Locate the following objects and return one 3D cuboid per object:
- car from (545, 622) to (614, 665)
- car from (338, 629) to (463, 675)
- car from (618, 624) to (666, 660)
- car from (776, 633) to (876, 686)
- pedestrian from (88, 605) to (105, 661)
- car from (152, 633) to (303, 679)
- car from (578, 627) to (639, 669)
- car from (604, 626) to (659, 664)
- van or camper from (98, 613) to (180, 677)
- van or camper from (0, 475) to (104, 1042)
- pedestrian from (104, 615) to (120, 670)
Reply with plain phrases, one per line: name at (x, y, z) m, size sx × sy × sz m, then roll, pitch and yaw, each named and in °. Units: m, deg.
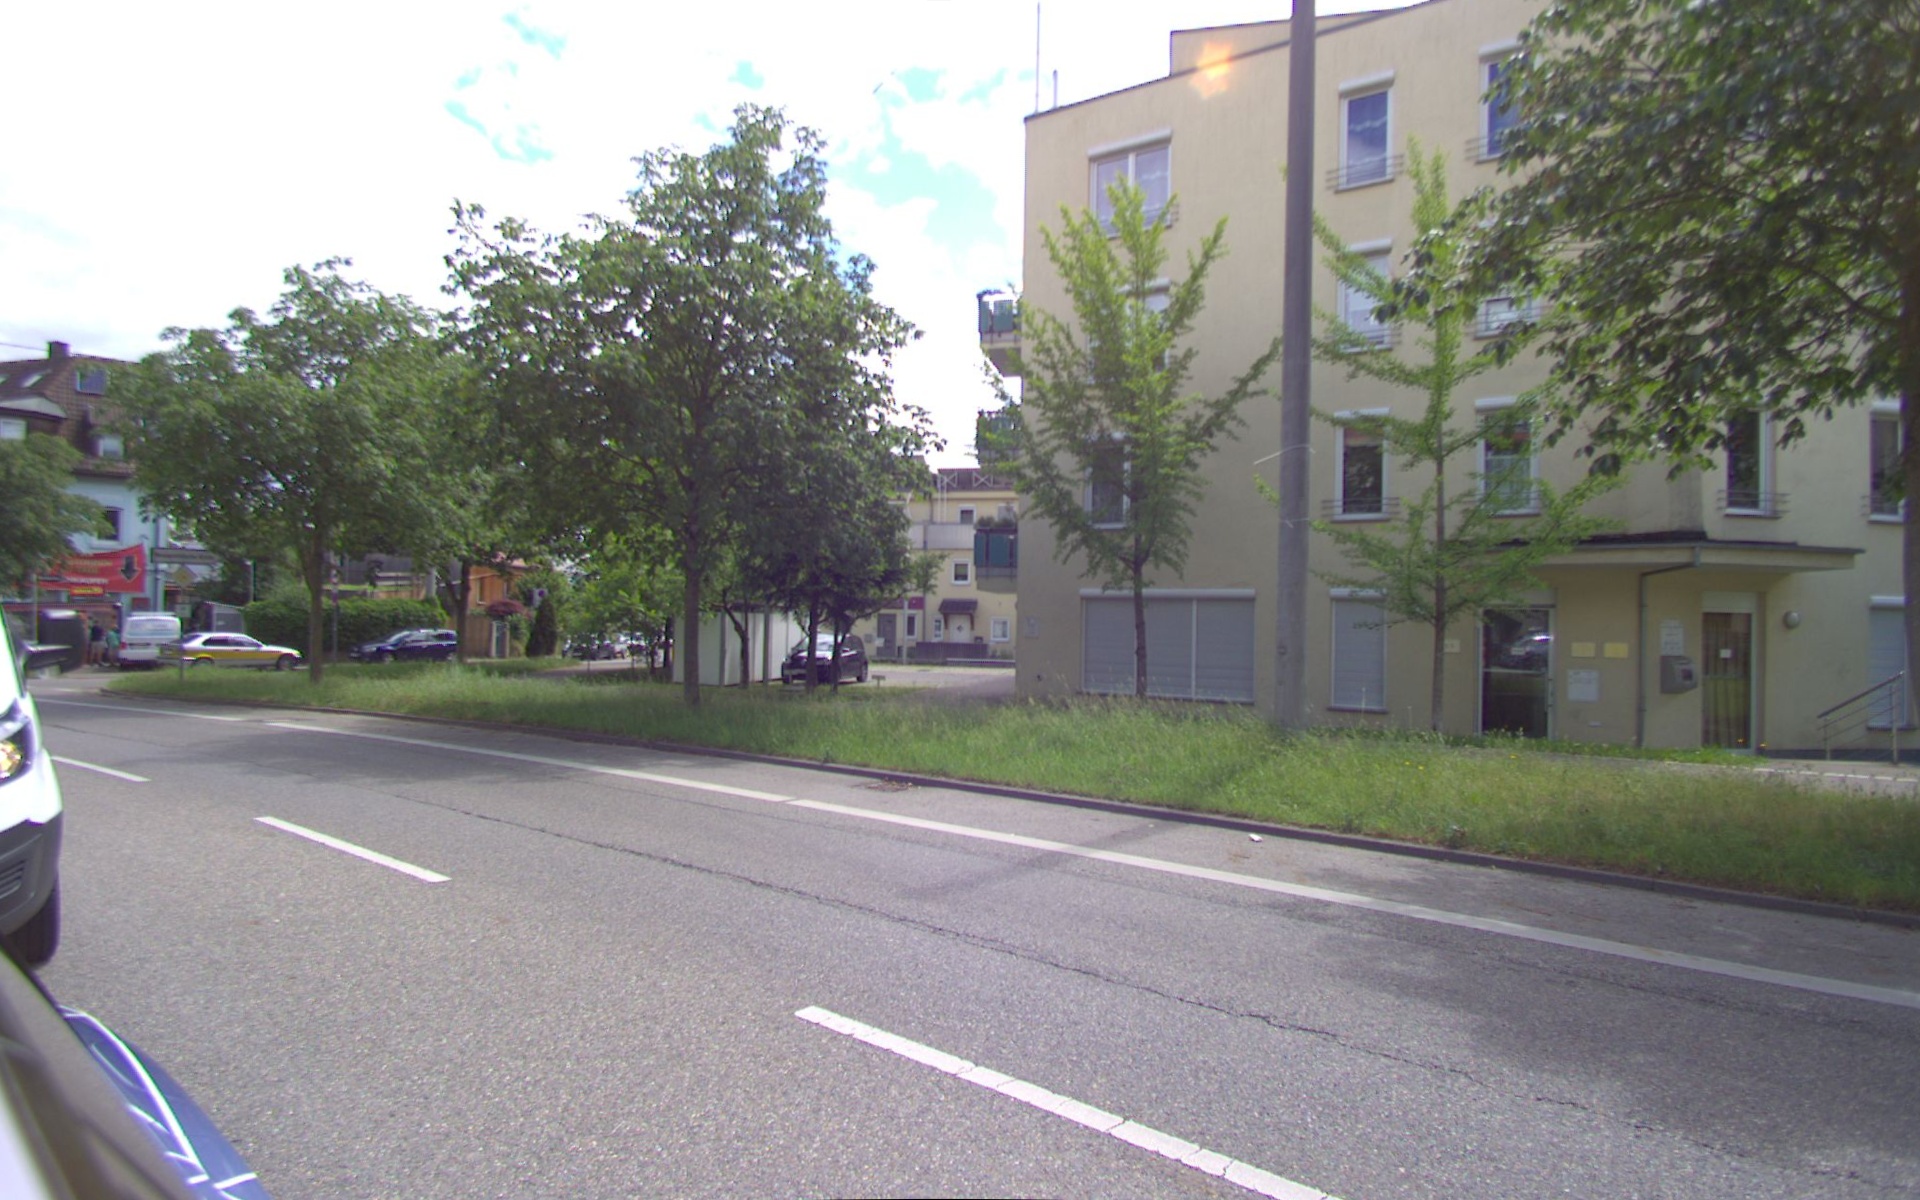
car at (-19.083, 2.170, 50.916) m, size 1.954 × 2.029 × 3.999 m, roll 0°, pitch -2°, yaw 0°
car at (-21.818, 1.983, 39.584) m, size 1.715 × 1.695 × 3.928 m, roll 0°, pitch -2°, yaw 37°
car at (-20.015, 2.632, 63.935) m, size 1.871 × 2.029 × 4.001 m, roll -1°, pitch 0°, yaw -2°
car at (-3.854, 1.768, 29.796) m, size 1.774 × 1.431 × 3.985 m, roll -1°, pitch -4°, yaw 11°
pedestrian at (-31.814, 1.212, 37.283) m, size 0.363 × 2.029 × 0.419 m, roll -1°, pitch 0°, yaw 41°
car at (-25.331, 1.897, 35.156) m, size 1.529 × 1.332 × 4.008 m, roll -1°, pitch 0°, yaw 27°
car at (-19.136, 2.594, 55.253) m, size 1.972 × 2.029 × 4.000 m, roll -1°, pitch 0°, yaw 0°
car at (-19.288, 2.619, 59.571) m, size 1.971 × 2.029 × 4.001 m, roll -1°, pitch 0°, yaw -1°
van or camper at (-29.651, 1.566, 36.520) m, size 3.811 × 2.105 × 1.770 m, roll 0°, pitch 0°, yaw 43°
van or camper at (-5.873, 0.593, 4.668) m, size 5.097 × 2.029 × 2.002 m, roll -1°, pitch -3°, yaw 39°
pedestrian at (-31.558, 1.581, 37.651) m, size 0.443 × 2.005 × 0.378 m, roll -1°, pitch 0°, yaw 41°
